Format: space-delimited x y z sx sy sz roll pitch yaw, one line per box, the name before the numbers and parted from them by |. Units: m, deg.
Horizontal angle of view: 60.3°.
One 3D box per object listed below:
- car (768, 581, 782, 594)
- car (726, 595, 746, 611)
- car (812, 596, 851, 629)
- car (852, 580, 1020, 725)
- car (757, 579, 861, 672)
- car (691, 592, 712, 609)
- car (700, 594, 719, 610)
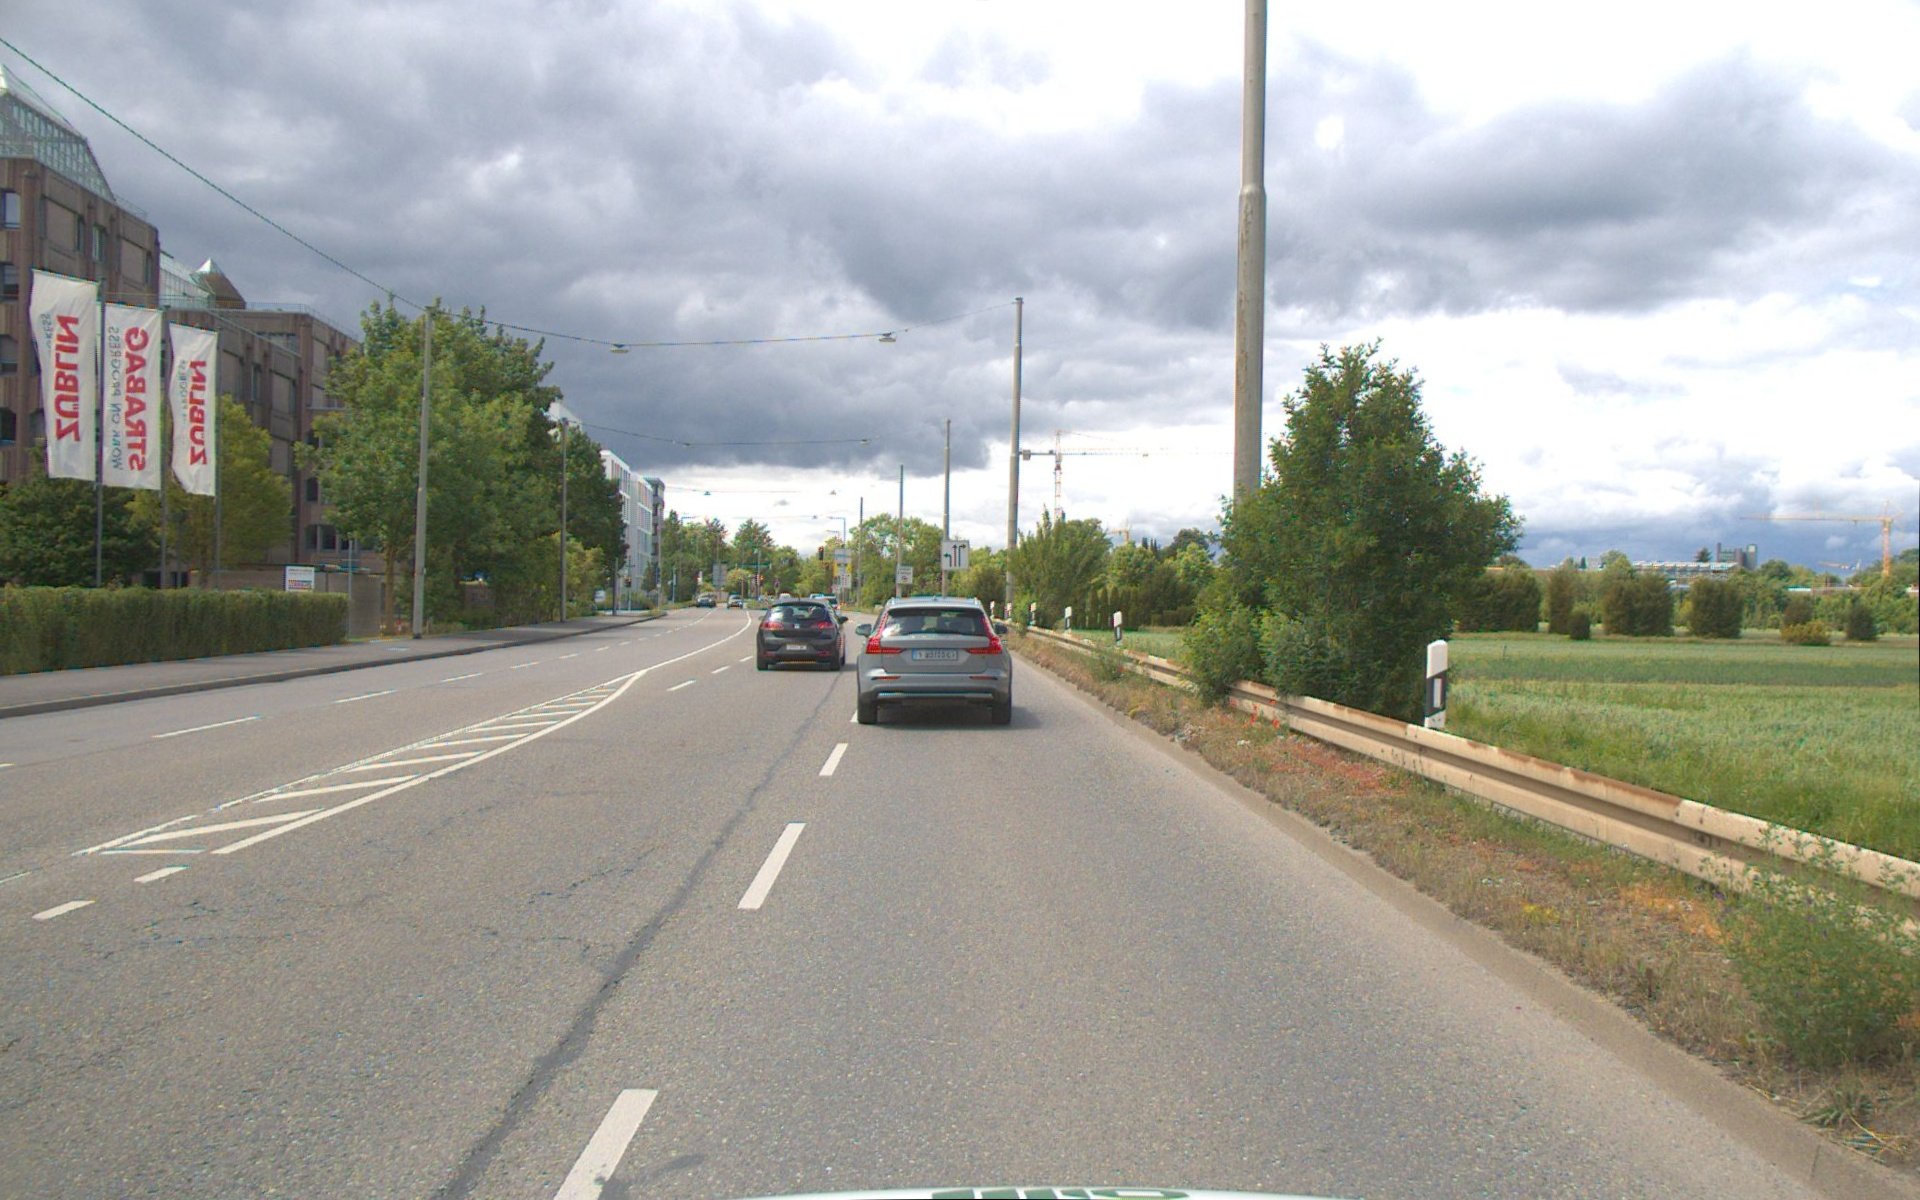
car | -26.793 -1.796 239.196 1.911 1.780 4.382 3 -1 -6
car | -24.719 0.347 182.411 1.844 1.547 3.997 3 -1 -3
car | -7.238 0.718 93.827 1.954 1.724 3.998 3 -1 -2
car | -0.277 0.616 20.455 1.857 1.581 3.999 1 -1 0
car | -3.107 0.530 34.650 1.954 1.747 3.997 3 -1 -4
car | -28.719 0.058 184.047 1.844 1.747 3.997 3 -1 -3
car | -30.234 0.237 199.785 1.844 1.747 3.997 3 -1 -3
